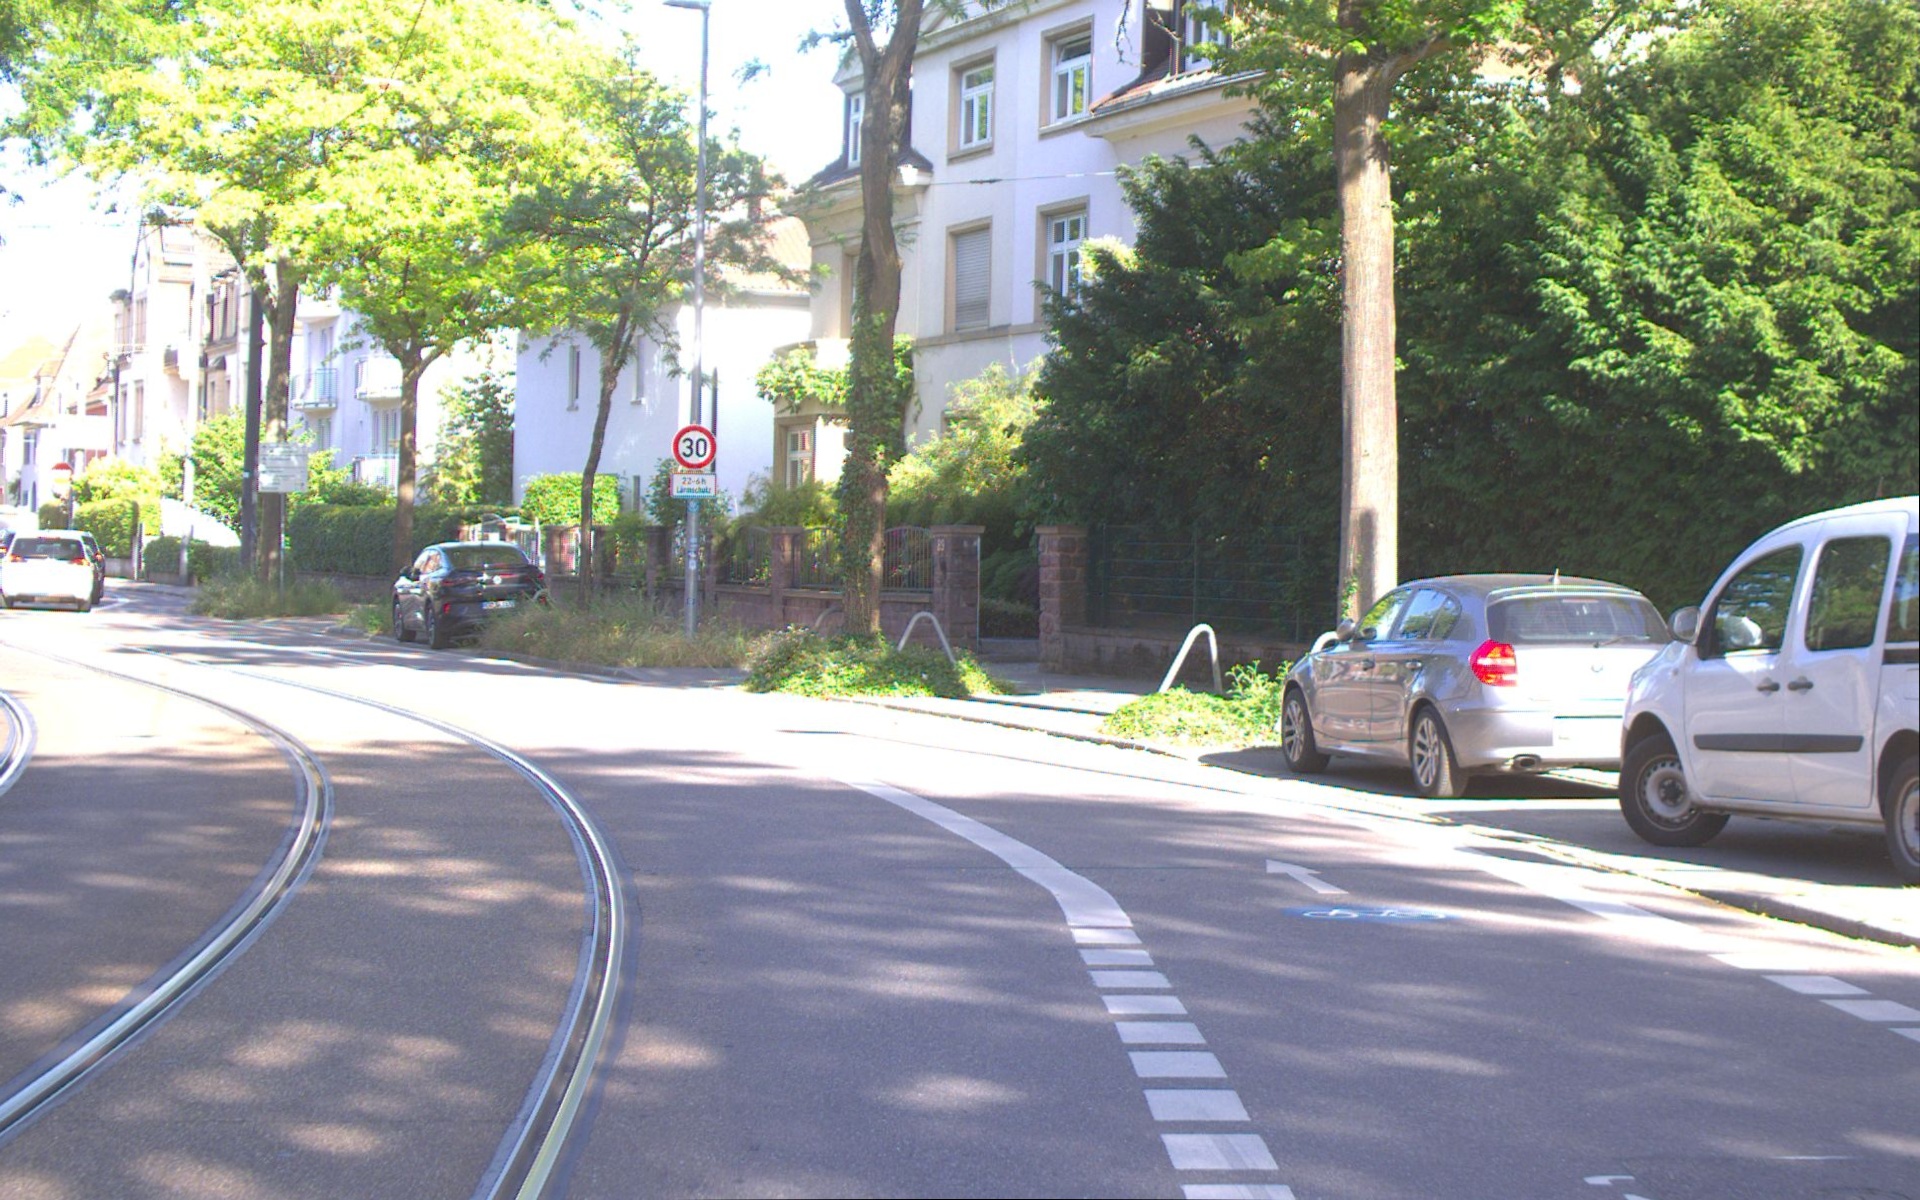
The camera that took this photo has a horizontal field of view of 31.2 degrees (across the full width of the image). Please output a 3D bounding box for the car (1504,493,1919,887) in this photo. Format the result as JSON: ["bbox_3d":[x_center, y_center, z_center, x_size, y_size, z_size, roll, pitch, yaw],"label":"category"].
[{"bbox_3d":[4.703,0.365,17.352,2.022,1.741,4.753,1,1,-16],"label":"car"}]

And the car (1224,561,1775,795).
[{"bbox_3d":[3.503,0.464,23.242,1.993,1.418,4.334,1,0,-17],"label":"car"}]

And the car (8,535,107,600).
[{"bbox_3d":[-21.044,-0.765,80.301,1.993,1.437,4.001,1,1,-11],"label":"car"}]

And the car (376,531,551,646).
[{"bbox_3d":[-8.018,-0.228,55.185,1.804,1.688,4.730,-2,2,-20],"label":"car"}]

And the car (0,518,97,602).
[{"bbox_3d":[-18.976,-0.807,71.514,1.892,1.605,4.230,1,-1,-13],"label":"car"}]
